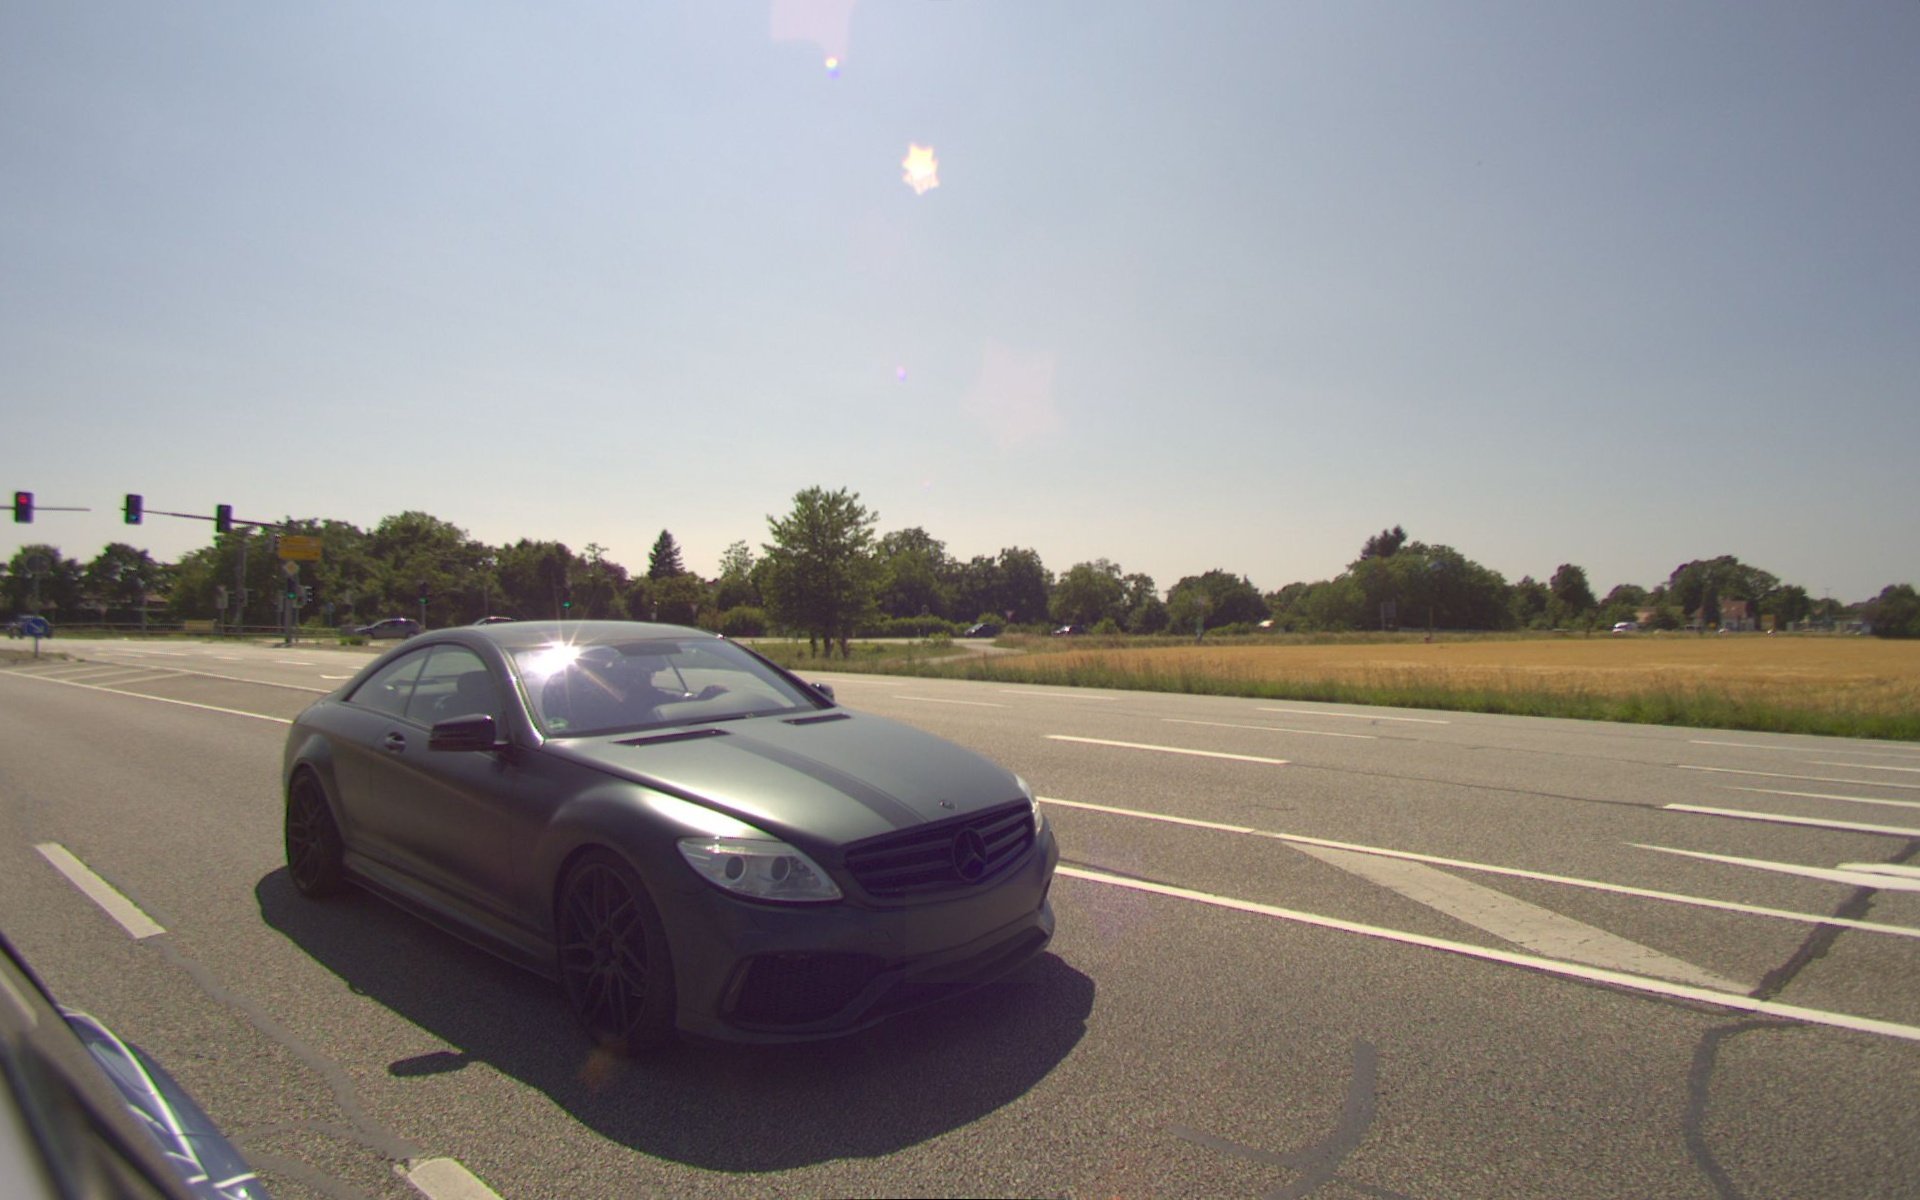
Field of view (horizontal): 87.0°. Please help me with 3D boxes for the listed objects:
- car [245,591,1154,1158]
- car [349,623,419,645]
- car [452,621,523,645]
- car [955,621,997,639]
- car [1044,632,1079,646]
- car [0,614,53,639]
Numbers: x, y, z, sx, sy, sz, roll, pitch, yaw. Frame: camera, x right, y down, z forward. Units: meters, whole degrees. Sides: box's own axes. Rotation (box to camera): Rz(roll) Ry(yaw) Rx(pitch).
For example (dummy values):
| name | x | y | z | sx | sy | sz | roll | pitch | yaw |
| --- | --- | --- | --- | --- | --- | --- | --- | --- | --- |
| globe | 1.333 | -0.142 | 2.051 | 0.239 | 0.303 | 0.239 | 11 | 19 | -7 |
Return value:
| name | x | y | z | sx | sy | sz | roll | pitch | yaw |
| --- | --- | --- | --- | --- | --- | --- | --- | --- | --- |
| car | -1.668 | 0.738 | 4.894 | 4.874 | 1.461 | 1.792 | -1 | 0 | 41 |
| car | -38.233 | 2.259 | 67.216 | 3.817 | 1.397 | 1.638 | 1 | -2 | -37 |
| car | -33.139 | 2.317 | 71.033 | 4.297 | 1.606 | 1.639 | 2 | -3 | -35 |
| car | 1.590 | 2.963 | 99.421 | 3.939 | 1.586 | 1.740 | -1 | 0 | -43 |
| car | 11.068 | 4.227 | 109.974 | 3.712 | 1.397 | 1.503 | 2 | -3 | -35 |
| car | -64.505 | 1.815 | 69.930 | 4.296 | 1.612 | 1.814 | 0 | -2 | 35 |
